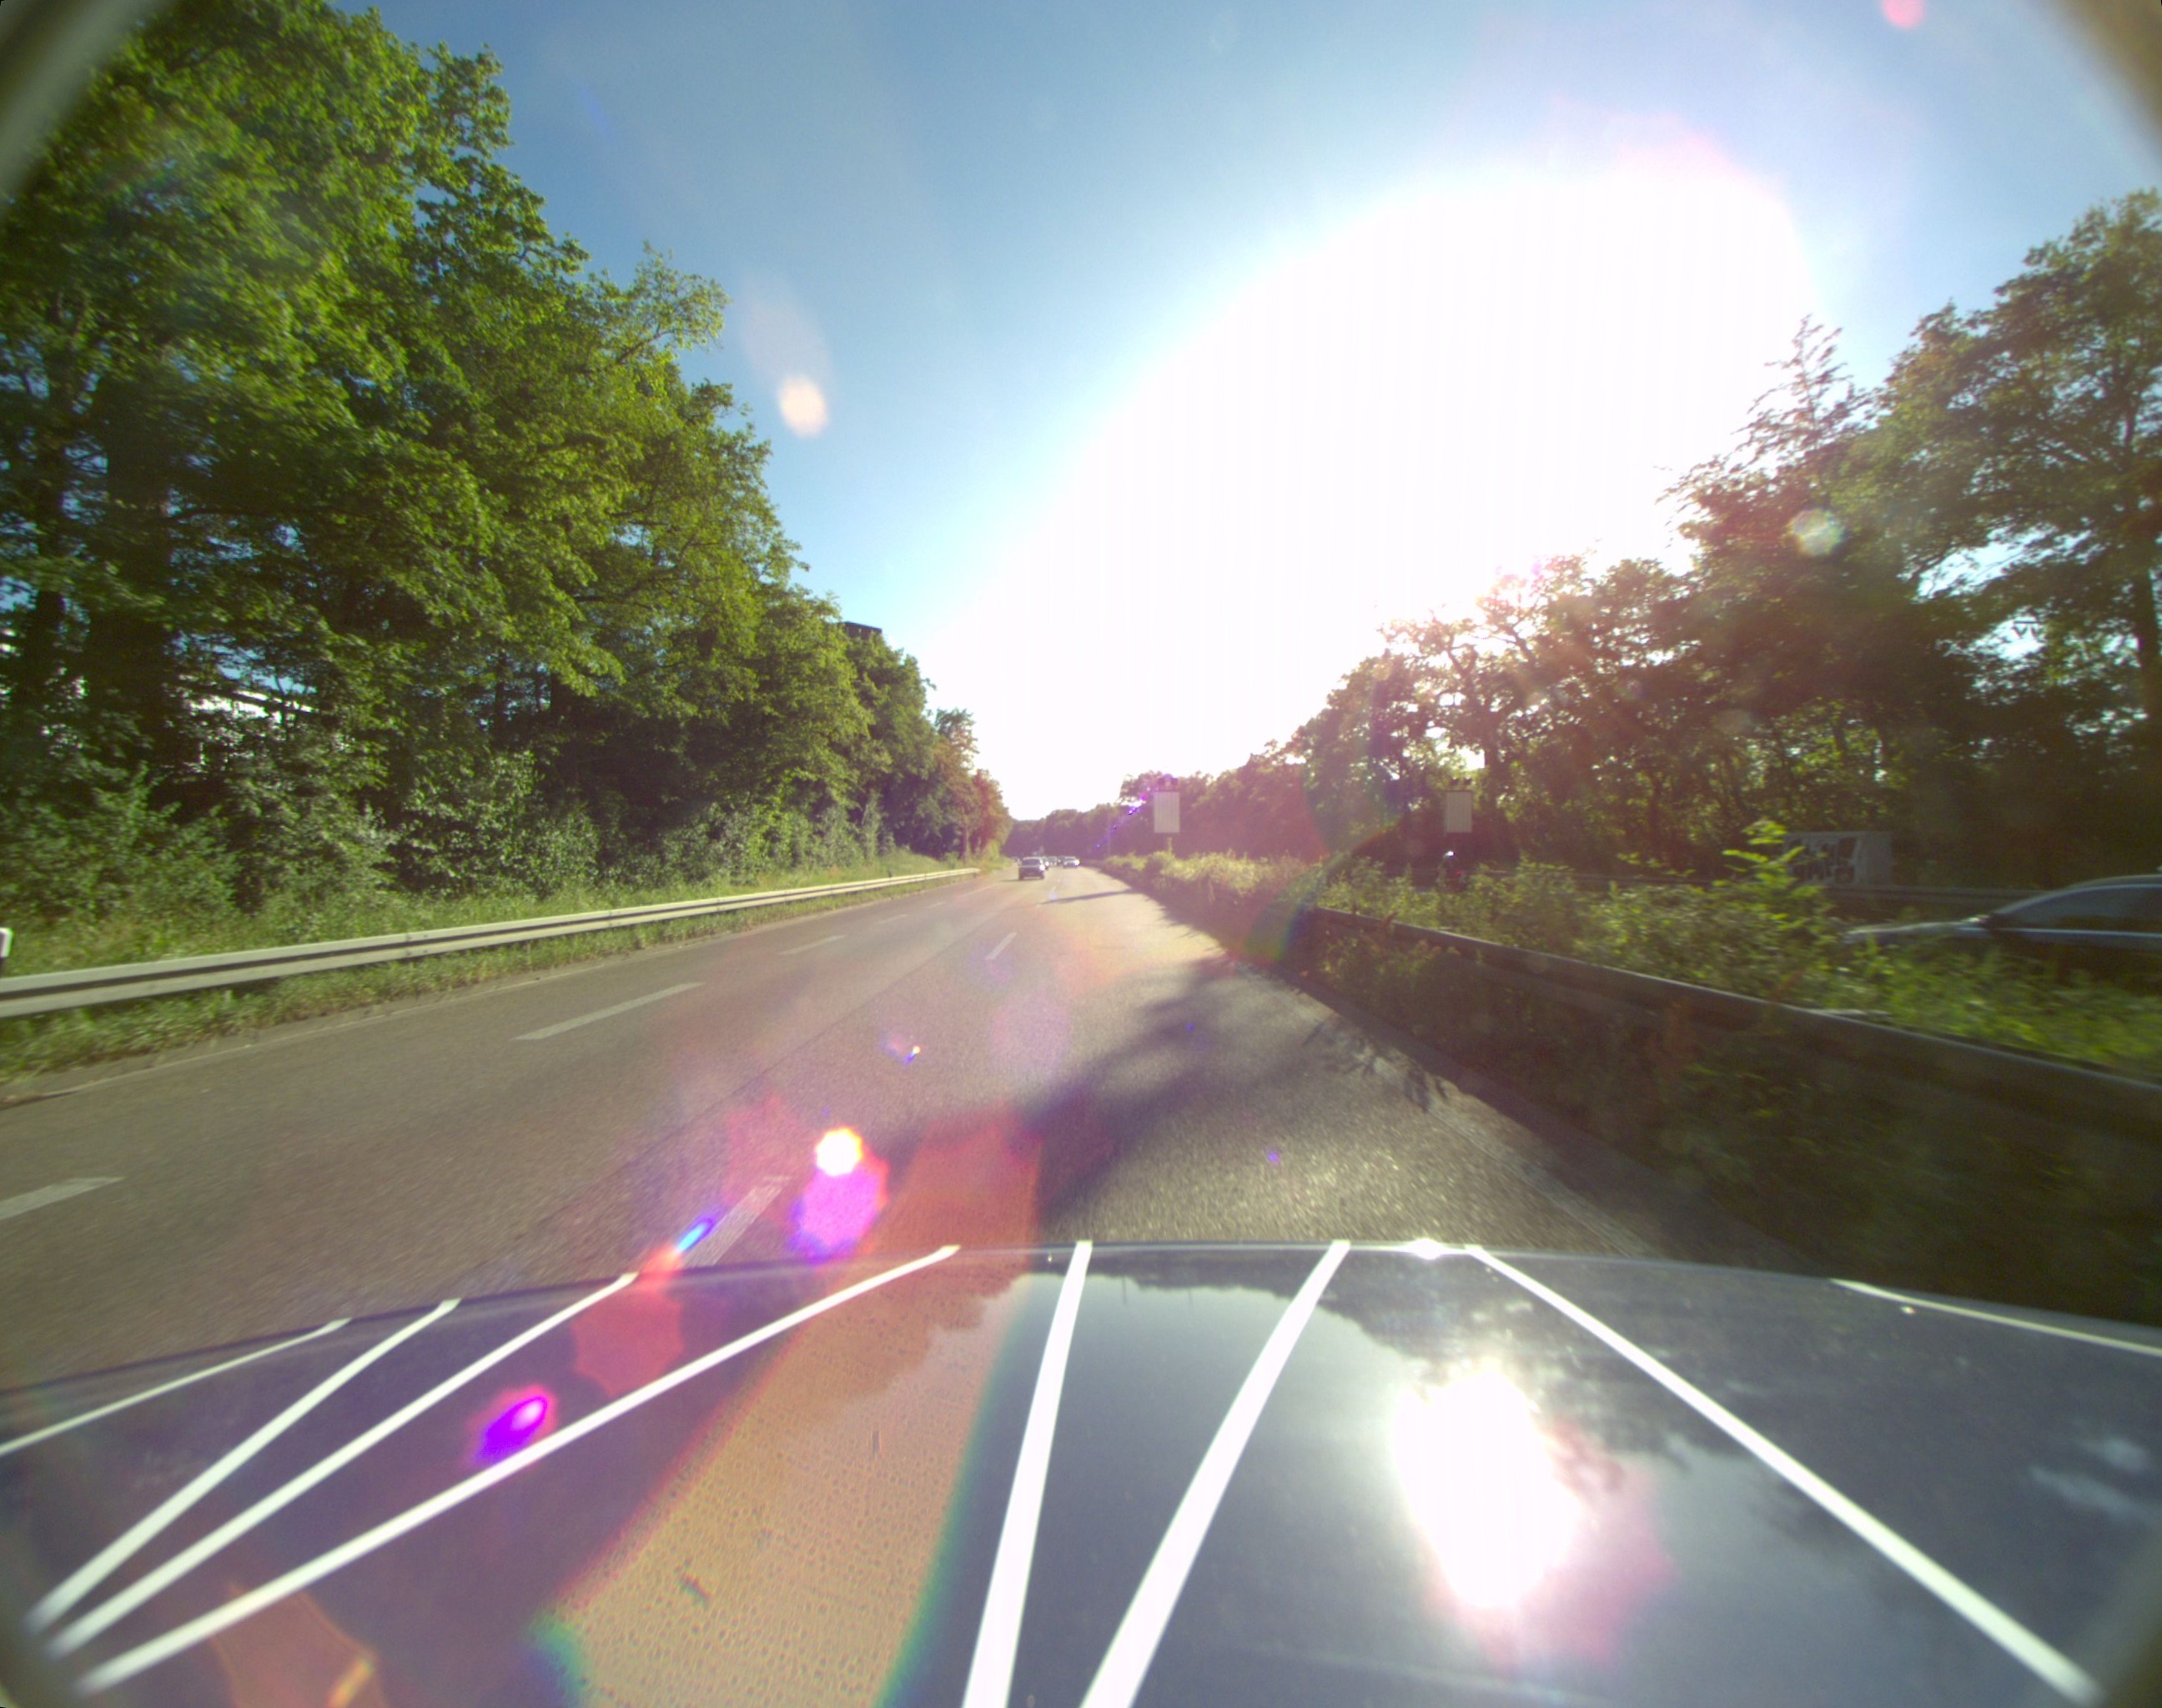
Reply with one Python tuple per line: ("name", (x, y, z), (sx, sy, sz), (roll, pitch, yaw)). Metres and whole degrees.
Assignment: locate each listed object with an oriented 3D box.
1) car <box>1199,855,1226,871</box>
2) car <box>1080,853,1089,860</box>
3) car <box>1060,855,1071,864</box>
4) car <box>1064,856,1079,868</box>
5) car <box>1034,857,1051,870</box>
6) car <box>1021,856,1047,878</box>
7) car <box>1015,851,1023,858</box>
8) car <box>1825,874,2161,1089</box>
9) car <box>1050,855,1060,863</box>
("car", (12.327, 0.815, 71.401), (1.713, 1.416, 4.132), (-1, 0, -1))
("car", (1.057, 0.733, 210.499), (2.125, 1.715, 5.874), (-2, 0, -3))
("car", (-2.706, 0.981, 130.235), (1.801, 1.453, 4.354), (-1, 0, -3))
("car", (-1.267, 0.995, 99.684), (1.904, 1.453, 4.355), (-1, 0, -2))
("car", (-4.588, 1.058, 89.433), (1.802, 1.453, 4.353), (-1, 0, -5))
("car", (-3.406, 0.896, 54.461), (1.802, 1.453, 4.354), (0, 0, -5))
("car", (-19.007, 0.192, 233.367), (2.000, 2.002, 3.996), (-1, 0, -11))
("car", (8.819, 0.968, 5.682), (1.856, 1.480, 4.785), (0, 0, 1))
("car", (-4.986, 0.995, 145.267), (1.801, 1.453, 4.400), (-1, 0, -3))
